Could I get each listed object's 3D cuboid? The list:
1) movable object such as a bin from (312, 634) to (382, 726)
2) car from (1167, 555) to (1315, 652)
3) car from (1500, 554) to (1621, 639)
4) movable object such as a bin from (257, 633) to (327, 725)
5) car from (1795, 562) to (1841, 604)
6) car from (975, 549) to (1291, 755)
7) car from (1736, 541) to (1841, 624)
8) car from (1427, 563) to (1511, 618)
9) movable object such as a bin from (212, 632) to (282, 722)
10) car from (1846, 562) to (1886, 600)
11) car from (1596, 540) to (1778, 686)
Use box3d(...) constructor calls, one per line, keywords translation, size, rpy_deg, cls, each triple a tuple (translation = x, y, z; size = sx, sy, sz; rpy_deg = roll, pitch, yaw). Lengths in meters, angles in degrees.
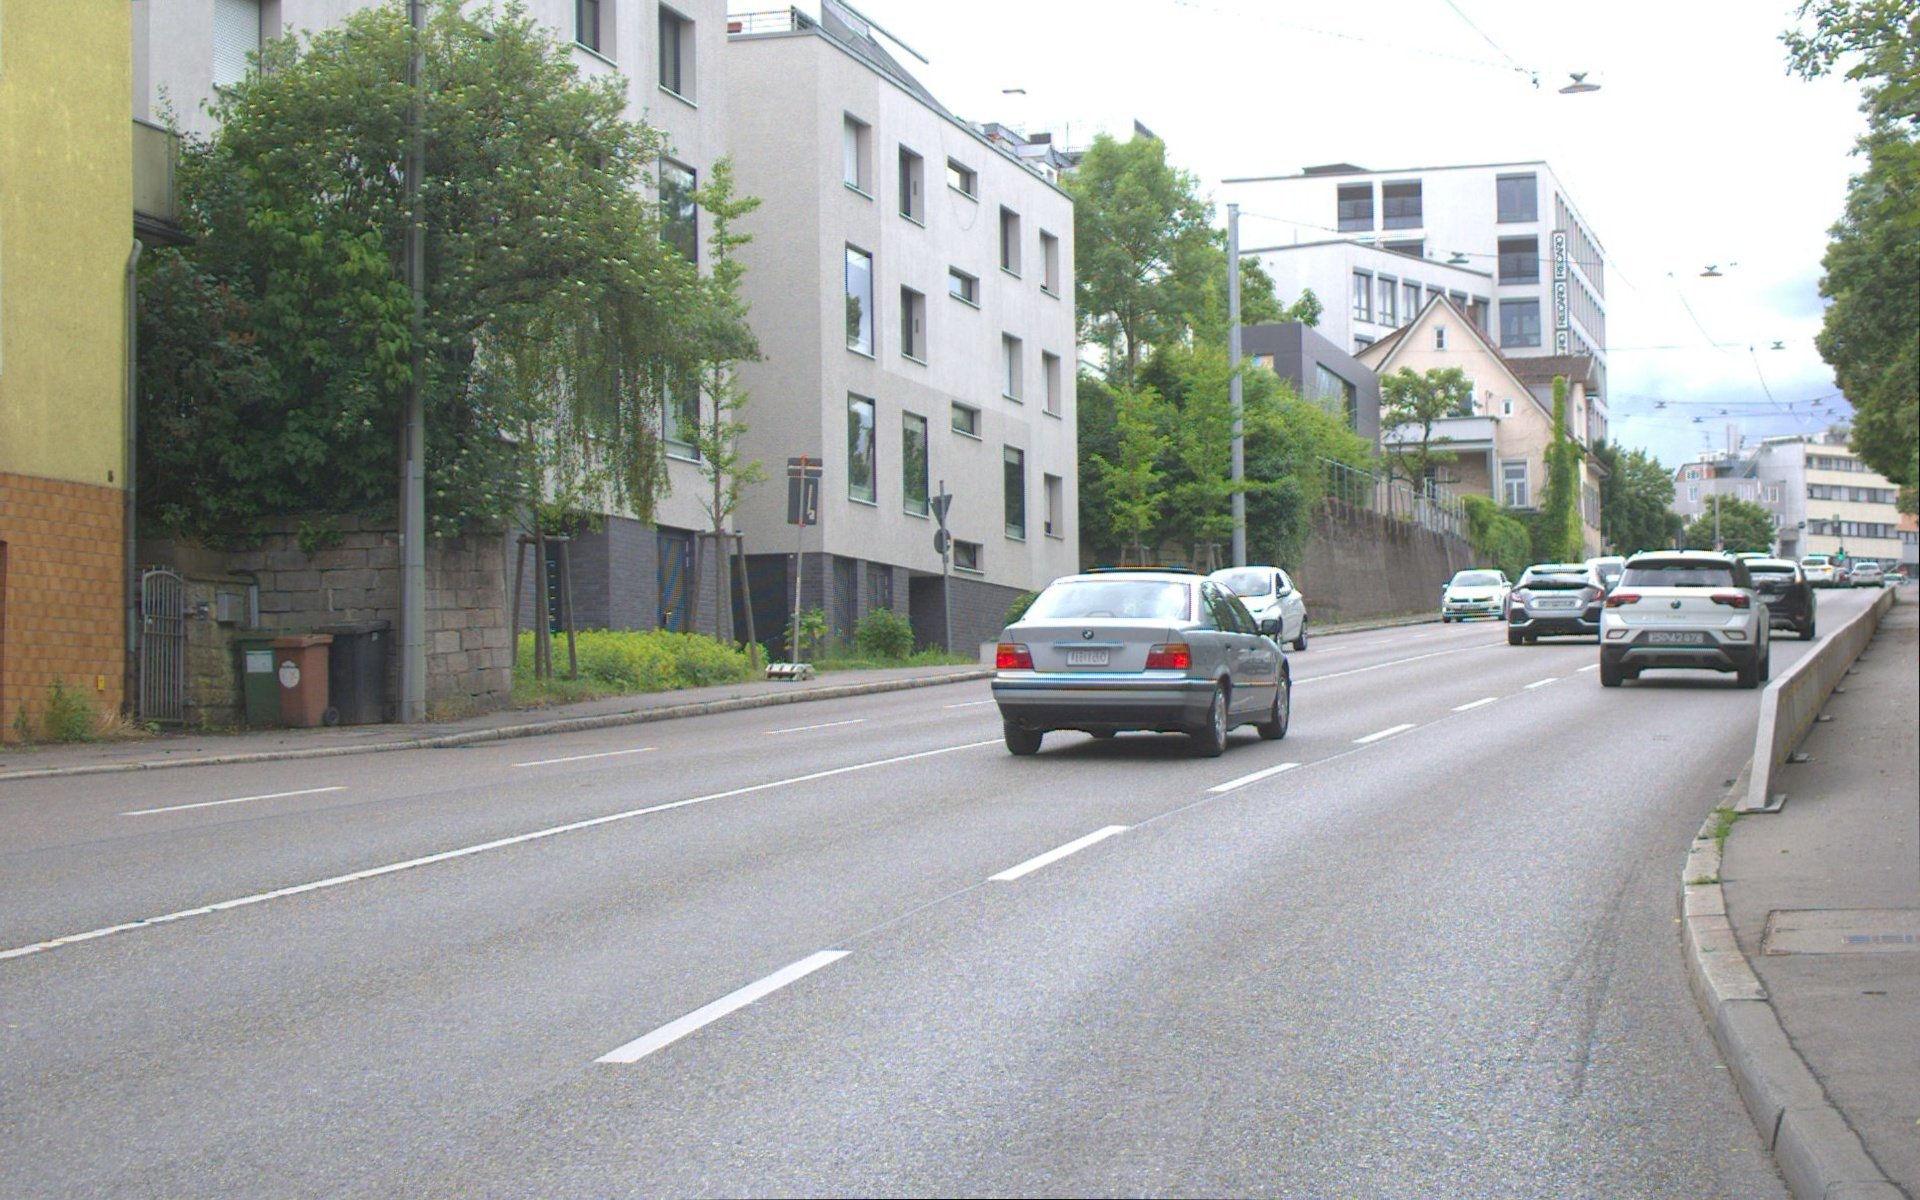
box3d(translation=(-6.148, 0.798, 34.493), size=(0.567, 0.882, 0.610), rpy_deg=(2, 0, -1), cls="movable object such as a bin")
box3d(translation=(5.080, 0.040, 61.664), size=(1.746, 1.608, 4.053), rpy_deg=(-3, 0, 17), cls="car")
box3d(translation=(10.735, -0.075, 61.254), size=(1.707, 1.459, 3.997), rpy_deg=(-1, 0, 16), cls="car")
box3d(translation=(-6.646, 0.786, 34.224), size=(0.567, 0.882, 0.610), rpy_deg=(2, 0, -1), cls="movable object such as a bin")
box3d(translation=(43.222, -0.833, 173.142), size=(1.995, 2.007, 3.997), rpy_deg=(2, 0, 16), cls="car")
box3d(translation=(1.419, 0.381, 26.630), size=(1.707, 1.459, 3.997), rpy_deg=(0, 0, 14), cls="car")
box3d(translation=(15.587, -0.307, 64.578), size=(1.708, 1.459, 3.997), rpy_deg=(2, 0, 16), cls="car")
box3d(translation=(14.350, -0.283, 96.701), size=(1.774, 1.459, 4.188), rpy_deg=(-2, 0, 16), cls="car")
box3d(translation=(-7.229, 0.777, 34.859), size=(0.567, 0.882, 0.610), rpy_deg=(2, 0, -1), cls="movable object such as a bin")
box3d(translation=(50.659, -1.068, 192.250), size=(1.995, 2.007, 3.997), rpy_deg=(2, 0, 16), cls="car")
box3d(translation=(8.551, 0.146, 40.243), size=(1.781, 1.574, 3.997), rpy_deg=(2, 0, 16), cls="car")
